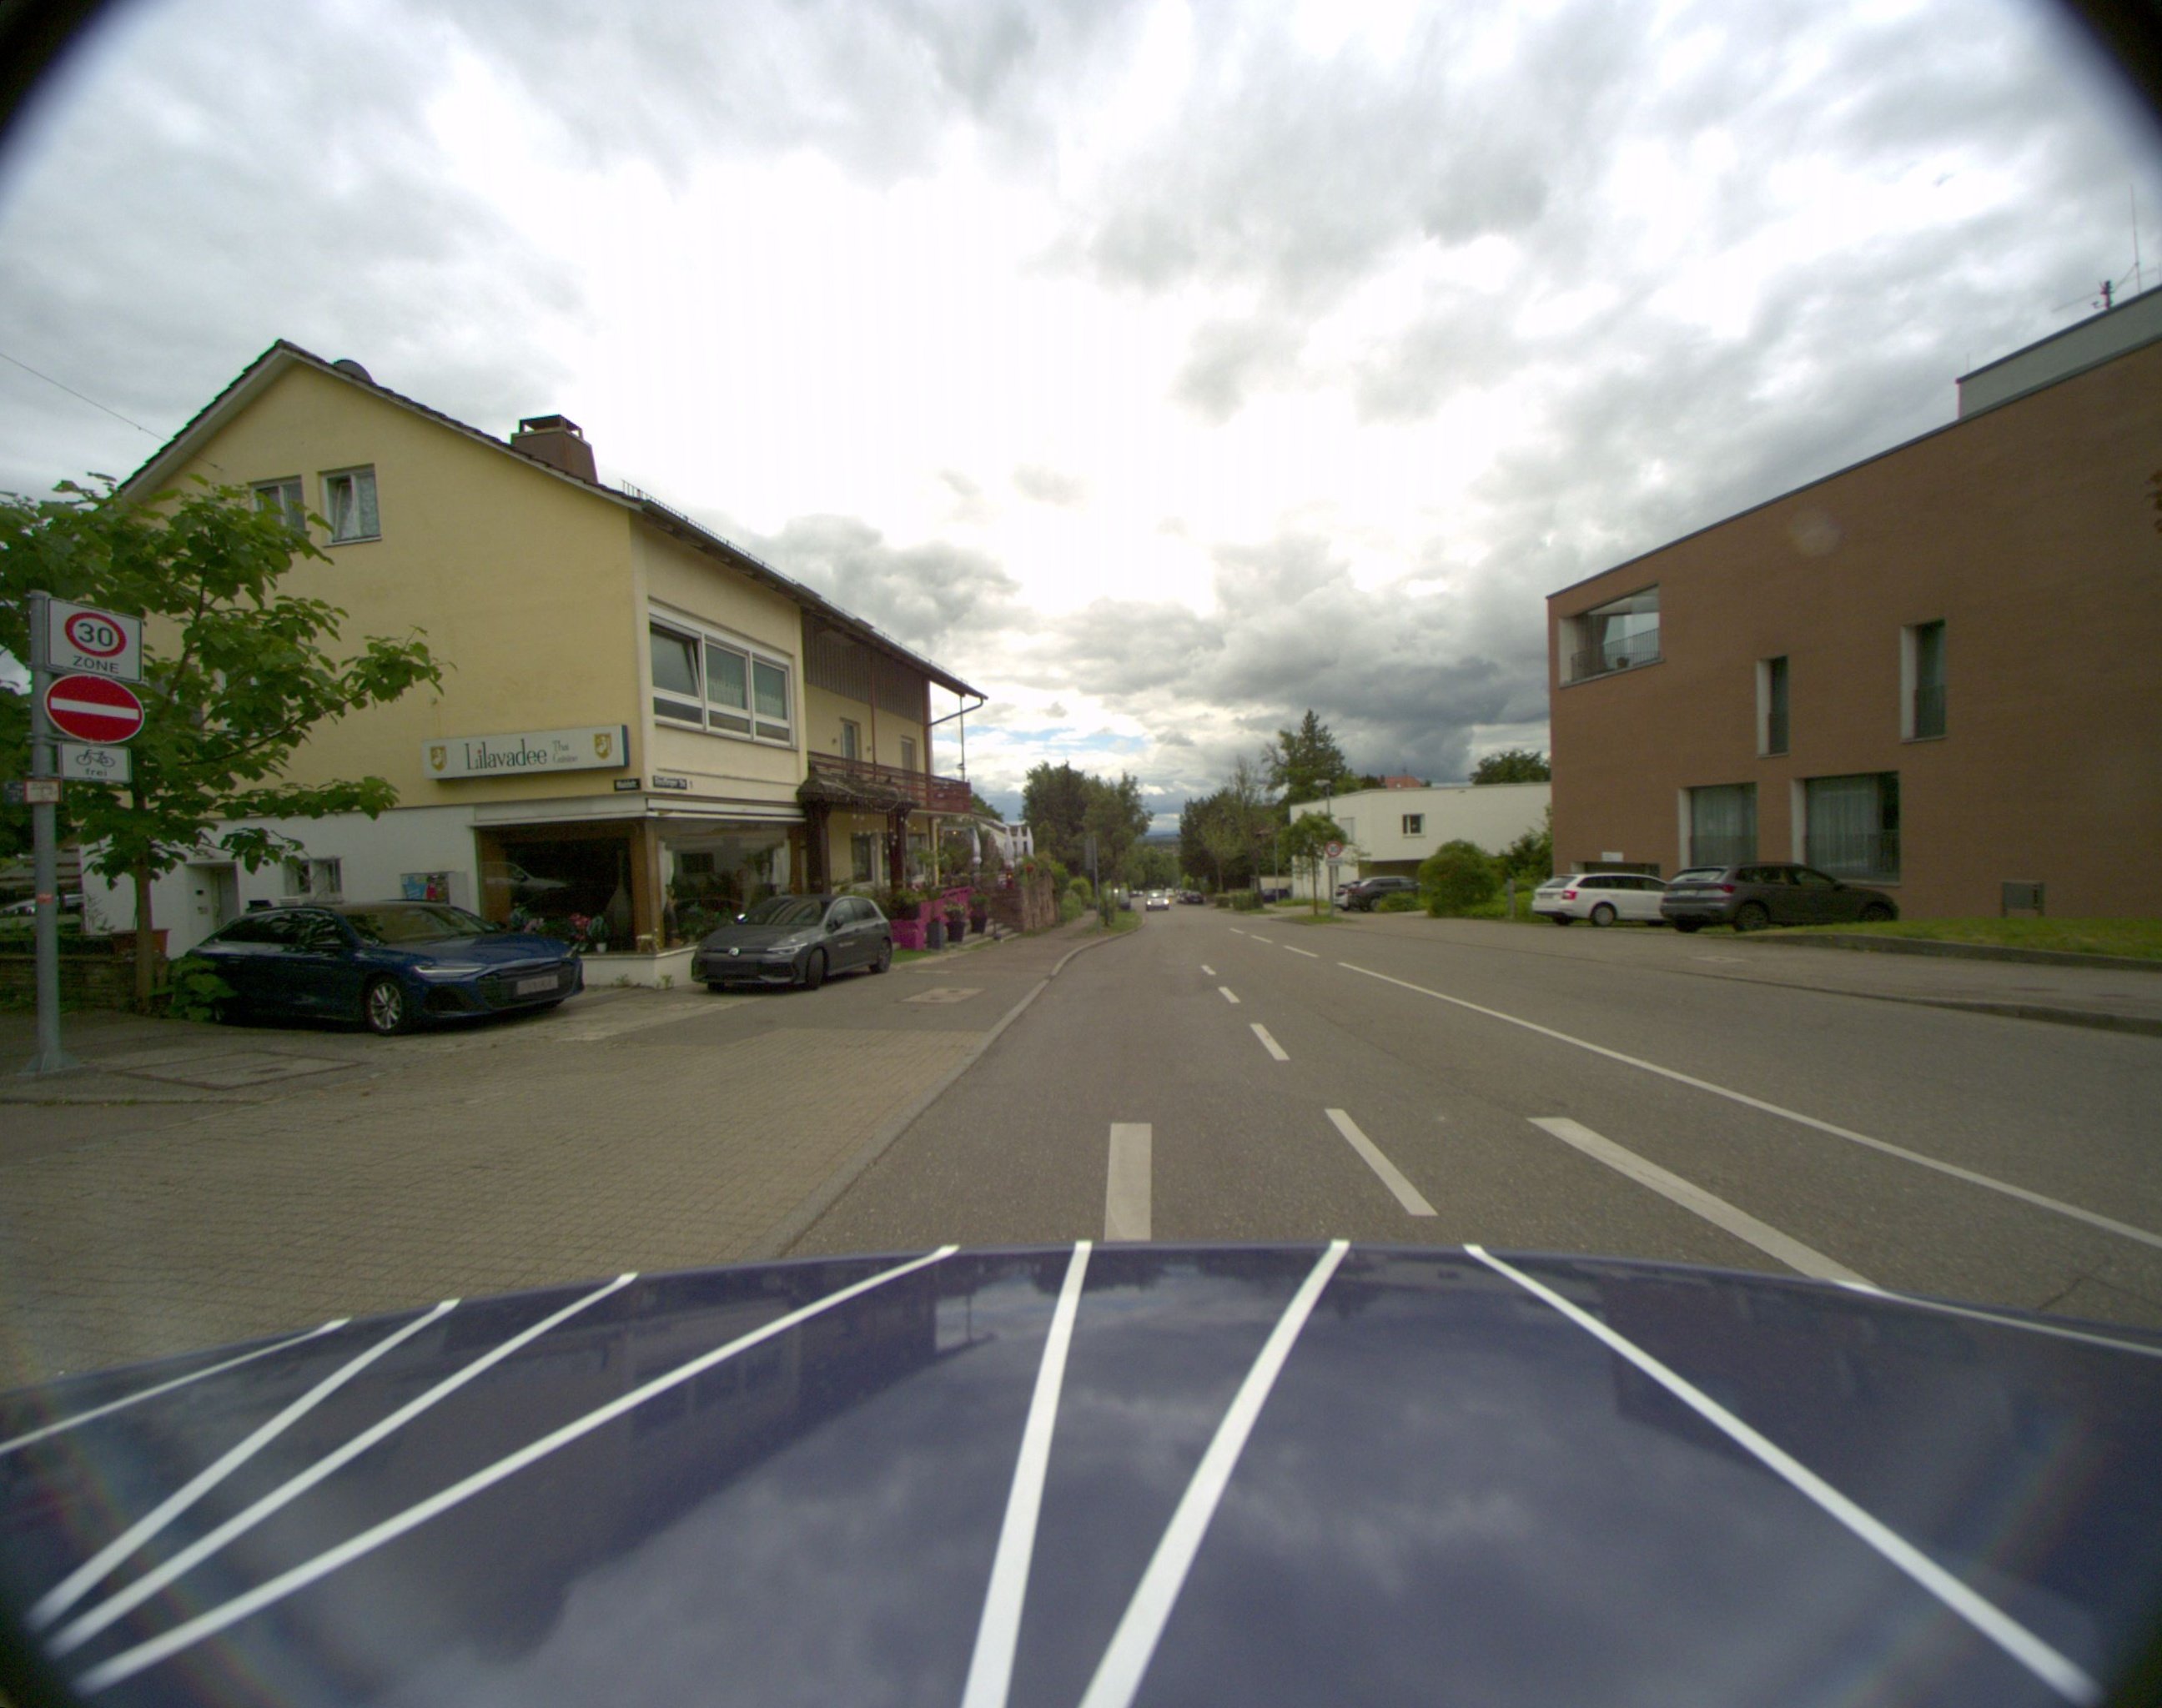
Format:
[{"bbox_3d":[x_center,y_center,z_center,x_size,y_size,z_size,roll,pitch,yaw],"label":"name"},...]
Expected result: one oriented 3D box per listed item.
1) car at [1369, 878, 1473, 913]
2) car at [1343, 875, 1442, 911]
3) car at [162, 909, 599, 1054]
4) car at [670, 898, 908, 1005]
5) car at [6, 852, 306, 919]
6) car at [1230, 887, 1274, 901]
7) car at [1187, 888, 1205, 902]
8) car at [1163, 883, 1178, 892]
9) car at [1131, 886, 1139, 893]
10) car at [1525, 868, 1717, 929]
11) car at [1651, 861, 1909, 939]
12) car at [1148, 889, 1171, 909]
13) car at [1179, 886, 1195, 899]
[{"bbox_3d":[15.606,1.895,35.035,3.996,1.476,1.728,-2,-3,3],"label":"car"},{"bbox_3d":[15.060,1.894,36.877,3.996,1.585,1.795,-2,-3,3],"label":"car"},{"bbox_3d":[-8.525,1.418,9.289,4.739,1.378,1.802,-2,-1,18],"label":"car"},{"bbox_3d":[-4.539,1.478,12.626,1.796,1.452,4.332,-1,-4,8],"label":"car"},{"bbox_3d":[-22.634,0.825,18.872,1.795,1.452,4.336,-2,-4,22],"label":"car"},{"bbox_3d":[16.553,3.881,73.729,3.995,1.278,1.665,-2,-3,7],"label":"car"},{"bbox_3d":[12.187,4.296,80.578,1.661,1.412,4.004,-2,-3,6],"label":"car"},{"bbox_3d":[16.214,6.064,137.973,1.884,1.412,4.368,-1,-1,-2],"label":"car"},{"bbox_3d":[13.084,8.578,184.265,1.883,1.412,4.369,-1,-1,1],"label":"car"},{"bbox_3d":[14.619,1.196,20.714,3.998,1.476,1.727,-1,-3,-3],"label":"car"},{"bbox_3d":[14.918,0.973,16.354,3.998,1.476,1.727,-1,-3,-3],"label":"car"},{"bbox_3d":[6.248,3.588,60.572,1.725,1.476,4.004,-2,-3,6],"label":"car"},{"bbox_3d":[12.504,4.551,89.576,1.661,1.412,4.372,-2,-3,6],"label":"car"}]
